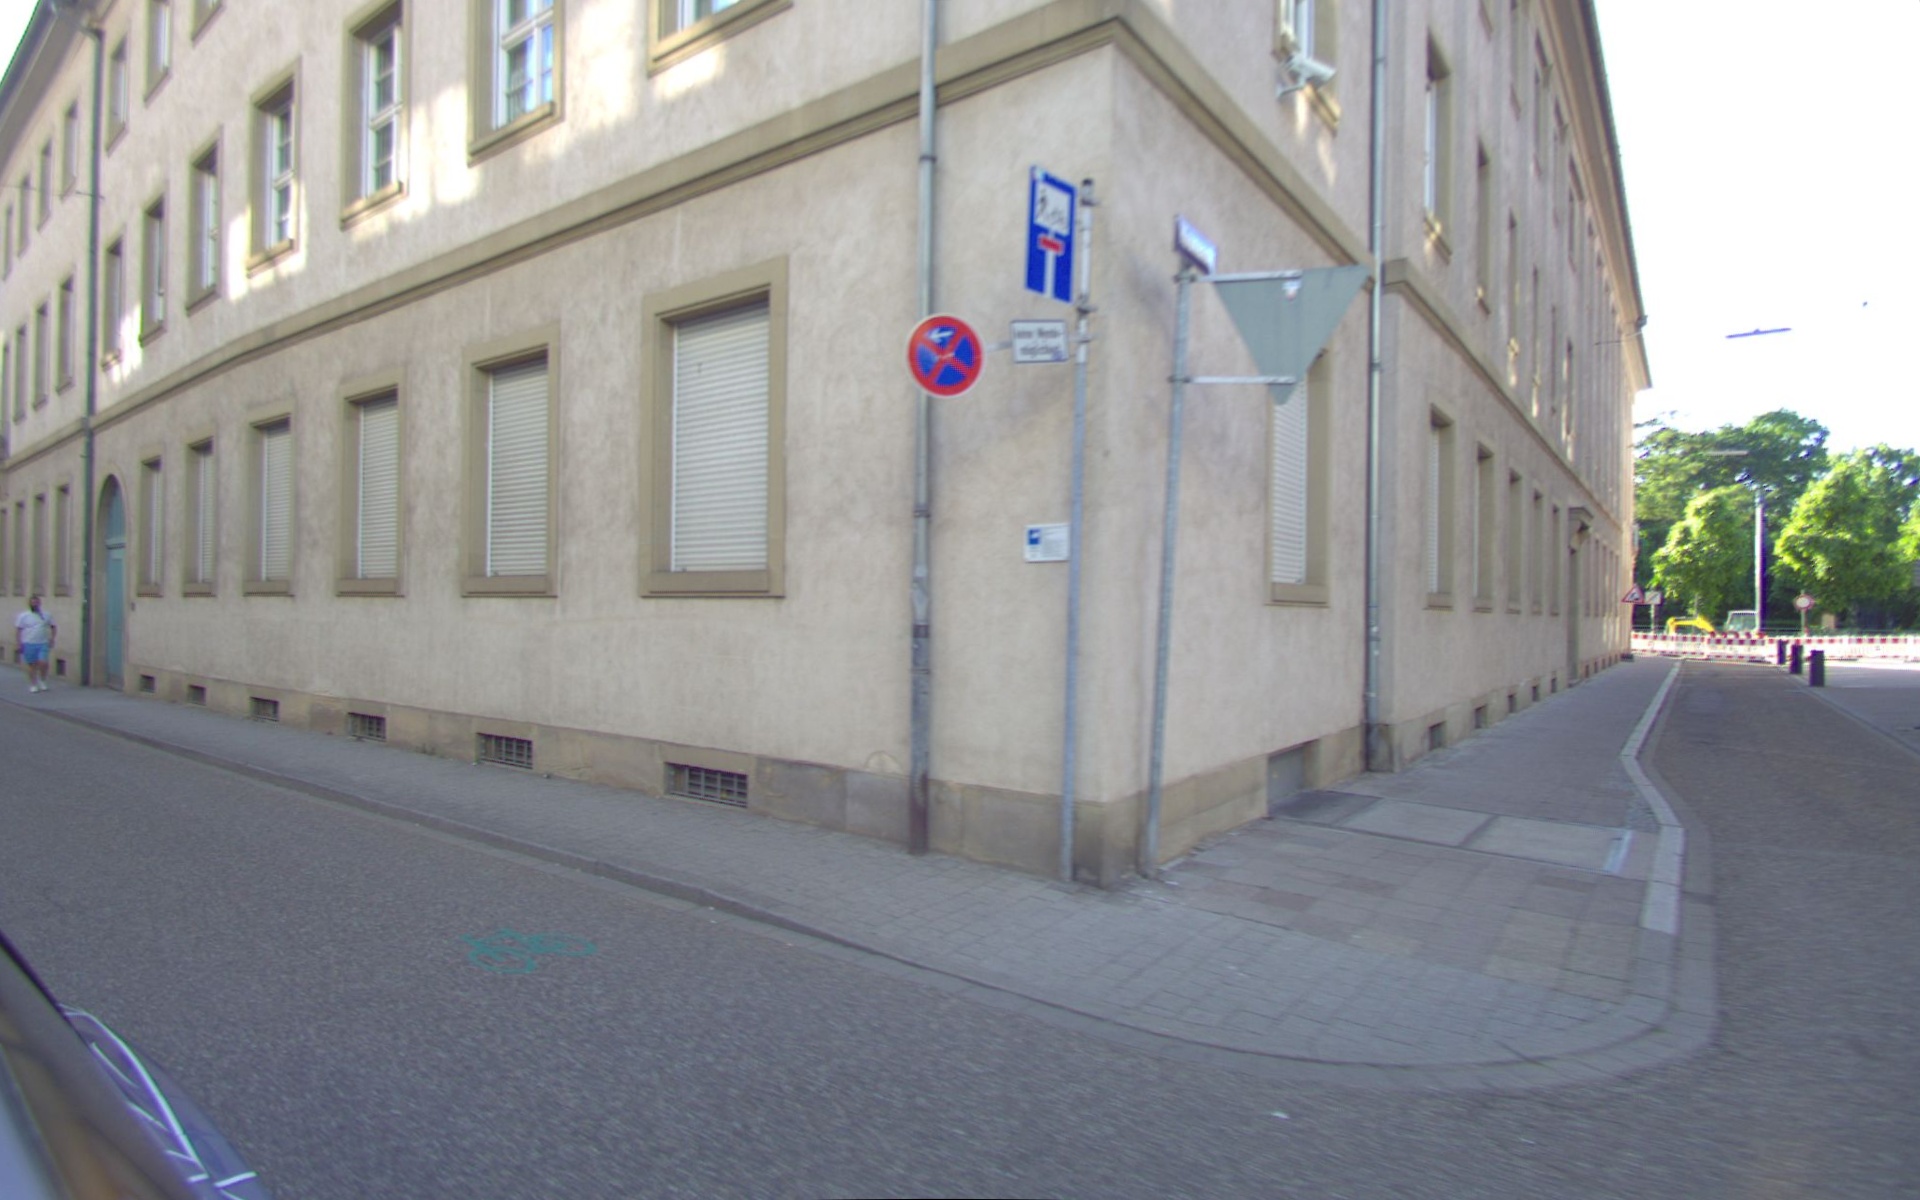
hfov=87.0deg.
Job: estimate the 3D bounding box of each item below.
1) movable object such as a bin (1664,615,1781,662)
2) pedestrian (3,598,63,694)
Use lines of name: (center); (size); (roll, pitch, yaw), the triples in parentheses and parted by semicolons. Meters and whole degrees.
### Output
movable object such as a bin: (37.936, 1.871, 50.350); (4.466, 2.186, 3.059); (0, -1, 41)
pedestrian: (-16.845, 0.810, 18.395); (0.874, 1.682, 0.686); (0, 1, 40)
